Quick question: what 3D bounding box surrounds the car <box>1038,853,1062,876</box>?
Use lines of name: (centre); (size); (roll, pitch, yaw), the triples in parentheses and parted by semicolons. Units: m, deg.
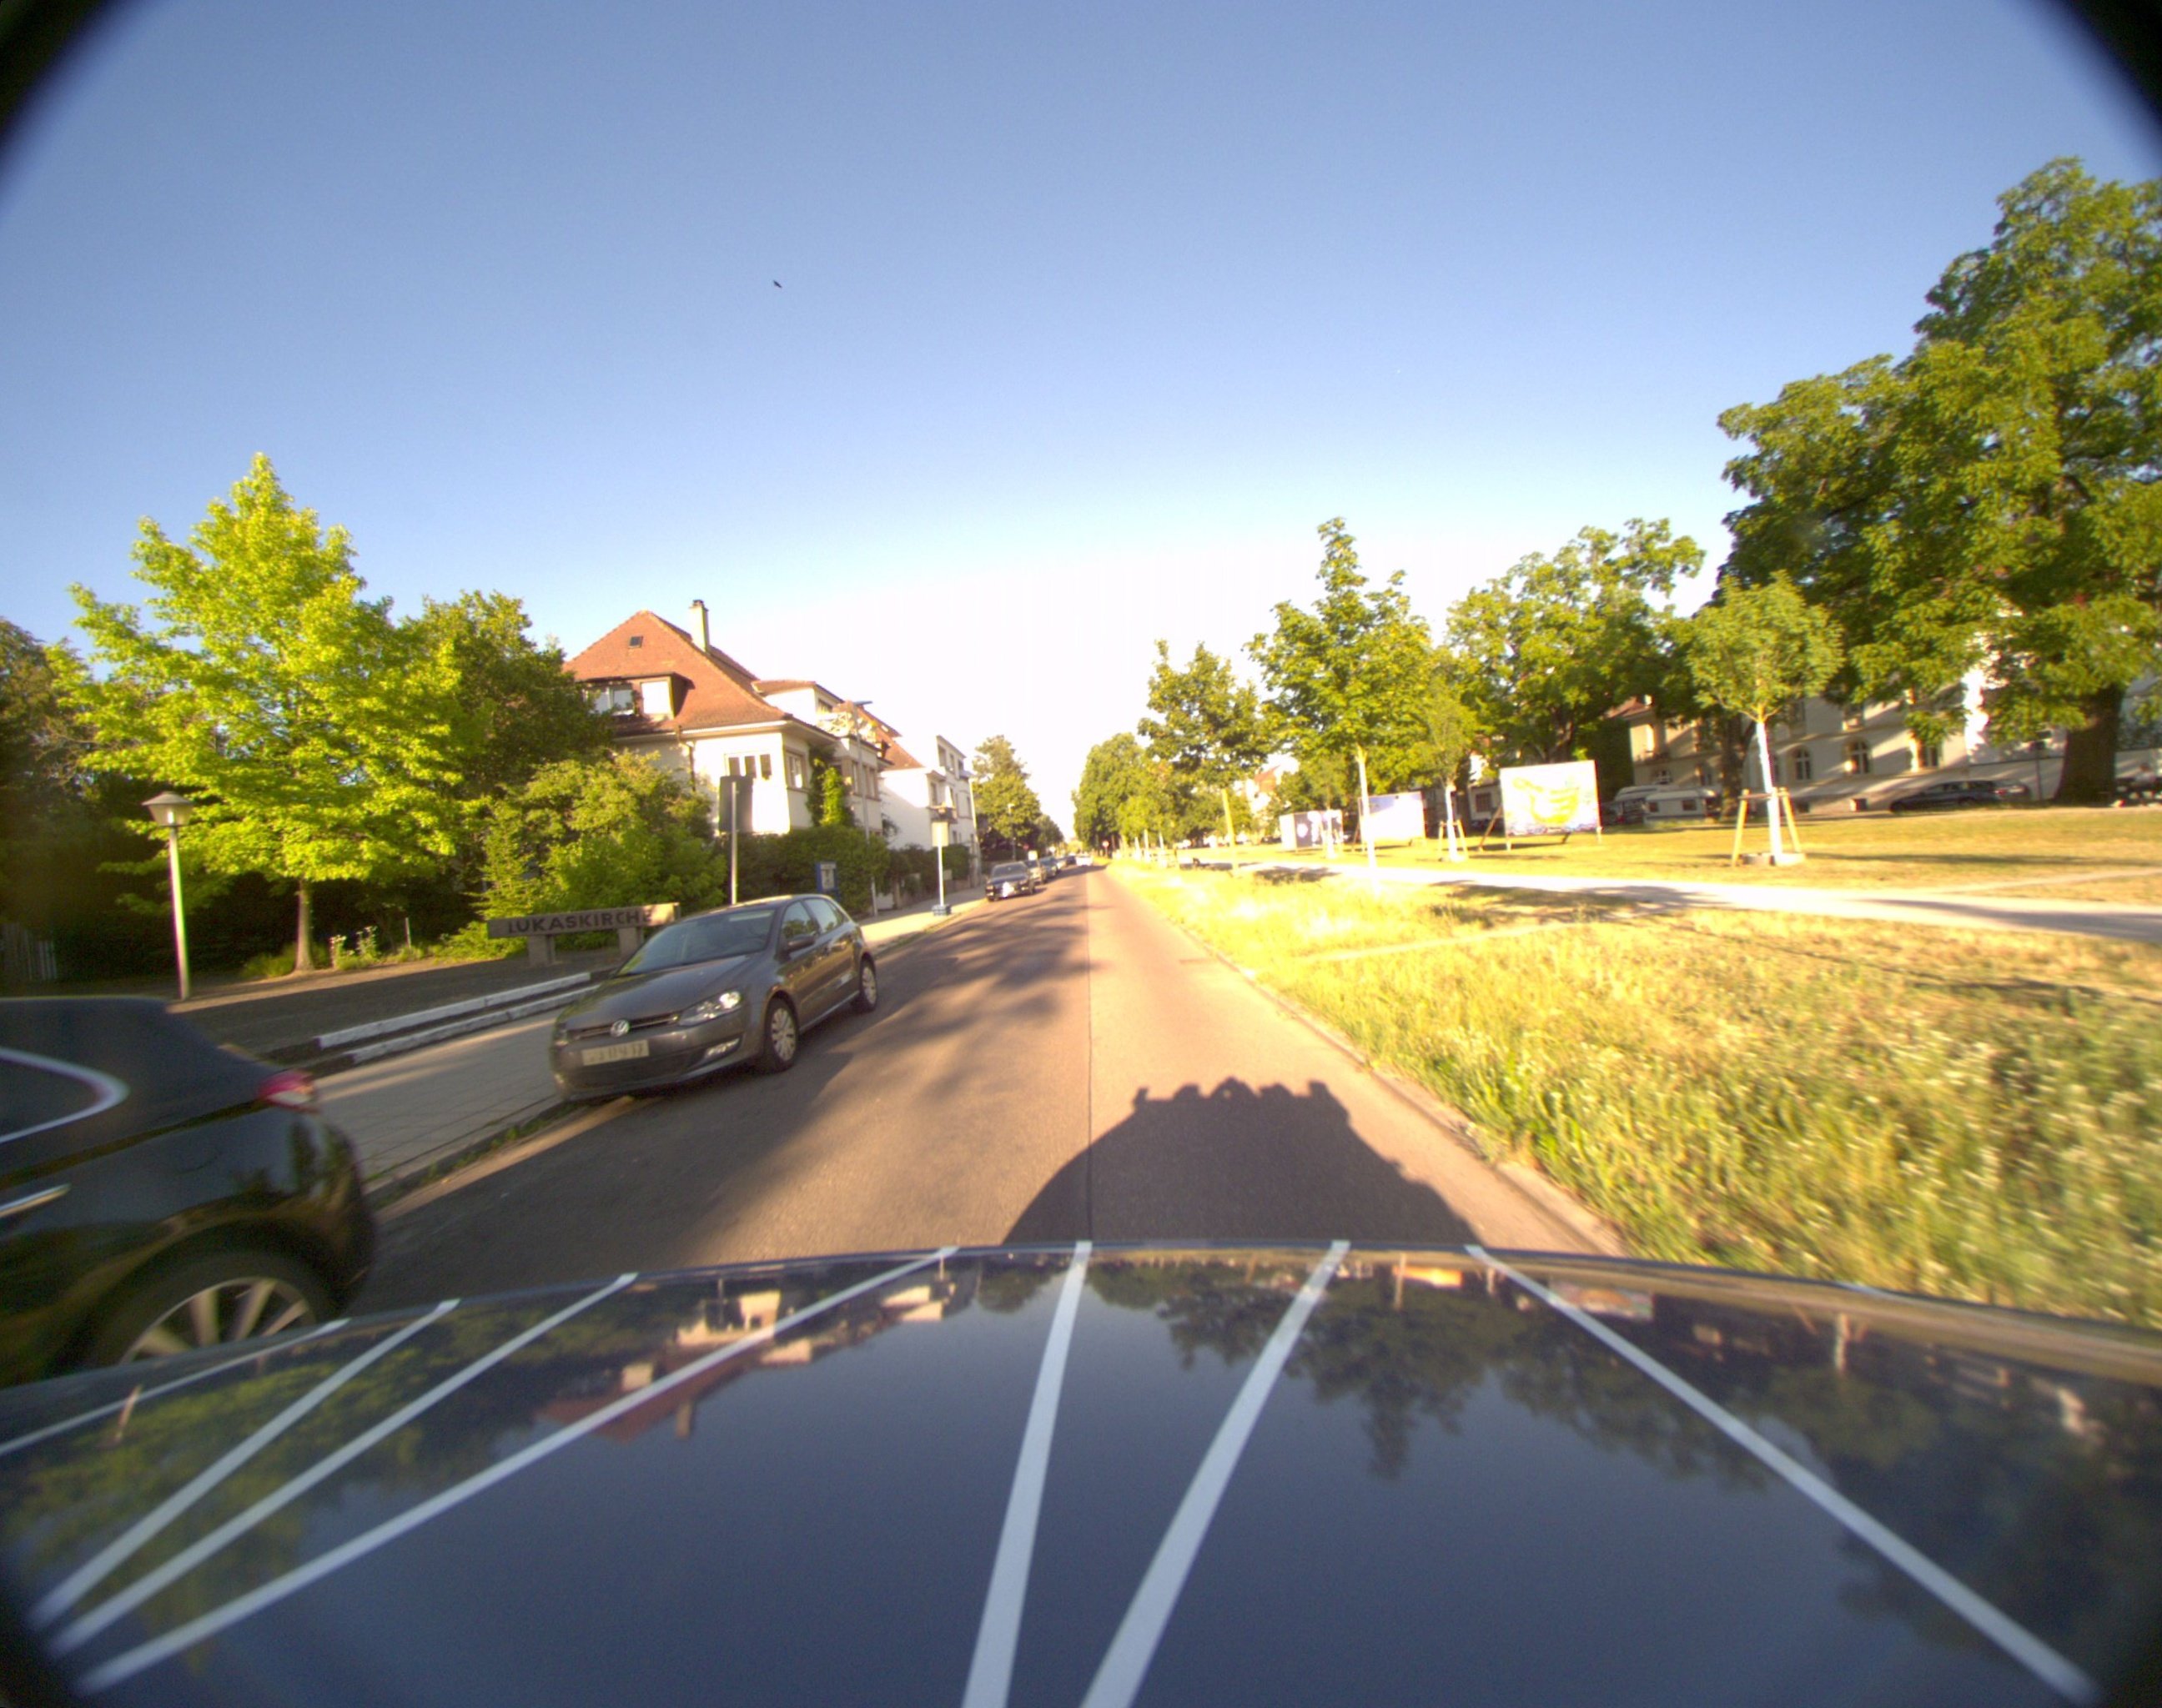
car: (-2.711, 0.897, 68.250); (1.806, 1.639, 4.583); (-10, 1, -1)

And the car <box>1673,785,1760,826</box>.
car: (39.543, -2.951, 47.447); (1.998, 2.142, 4.000); (-5, 0, 1)

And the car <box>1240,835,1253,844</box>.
car: (35.298, -3.117, 162.171); (1.998, 1.692, 4.000); (-5, 0, 1)

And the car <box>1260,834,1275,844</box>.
car: (34.844, -2.810, 142.059); (1.998, 1.834, 3.999); (-1, 1, 2)

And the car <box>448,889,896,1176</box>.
car: (-3.231, 1.285, 7.142); (1.692, 1.519, 4.175); (-9, -1, 1)

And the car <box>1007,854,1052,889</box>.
car: (-2.901, 0.969, 43.722); (1.888, 1.528, 4.461); (-8, 1, 2)

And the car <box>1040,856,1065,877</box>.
car: (-2.713, 1.198, 74.100); (1.880, 1.525, 4.589); (-10, 1, 2)

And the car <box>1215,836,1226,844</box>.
car: (35.457, -3.583, 193.411); (2.125, 2.002, 3.999); (-1, 1, -1)

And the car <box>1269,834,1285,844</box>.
car: (34.849, -2.673, 135.286); (1.998, 1.834, 3.999); (-1, 1, 2)

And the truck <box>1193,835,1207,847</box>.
truck: (35.880, -3.886, 229.395); (2.785, 3.128, 7.709); (-5, 0, 0)

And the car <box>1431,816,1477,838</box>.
car: (34.375, -2.436, 70.109); (1.999, 1.718, 4.344); (-5, 0, 0)

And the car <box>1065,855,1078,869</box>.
car: (-1.649, 1.402, 134.187); (1.998, 2.179, 4.001); (-5, -1, 1)

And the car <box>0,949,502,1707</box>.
car: (-3.175, 1.275, 0.430); (1.827, 1.552, 4.622); (-11, 0, 1)

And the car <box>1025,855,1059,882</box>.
car: (-2.743, 1.041, 54.085); (1.916, 1.550, 4.567); (-9, -1, 1)

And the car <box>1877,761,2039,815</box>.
car: (39.947, -2.943, 34.821); (1.894, 1.901, 4.714); (-5, 0, 1)

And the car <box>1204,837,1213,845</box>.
car: (35.748, -3.595, 213.663); (1.998, 2.002, 4.001); (-5, 0, 3)

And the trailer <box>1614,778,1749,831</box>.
trailer: (33.960, -2.708, 43.364); (2.479, 2.644, 6.635); (-1, 1, 0)

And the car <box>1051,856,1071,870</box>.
car: (-2.511, 1.143, 97.364); (2.111, 1.396, 4.132); (-10, 0, 1)

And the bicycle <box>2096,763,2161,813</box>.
bicycle: (30.860, -1.925, 21.754); (0.512, 1.334, 2.331); (-5, 0, 4)

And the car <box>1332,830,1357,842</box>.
car: (34.346, -2.344, 98.963); (1.692, 1.399, 3.642); (-5, 0, -4)

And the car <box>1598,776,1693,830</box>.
car: (39.870, -3.539, 53.898); (1.998, 3.230, 6.075); (-5, 0, 0)

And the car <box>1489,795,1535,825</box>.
car: (40.035, -4.060, 70.682); (1.998, 2.527, 3.999); (-5, 2, 1)

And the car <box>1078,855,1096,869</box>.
car: (0.702, 0.934, 92.439); (1.998, 1.483, 4.000); (-5, 0, 0)

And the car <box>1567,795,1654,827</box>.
car: (34.131, -2.711, 49.206); (1.999, 1.632, 4.950); (-6, 1, -1)

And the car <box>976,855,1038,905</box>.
car: (-3.047, 1.042, 32.505); (1.999, 1.588, 4.885); (-9, 1, 0)
